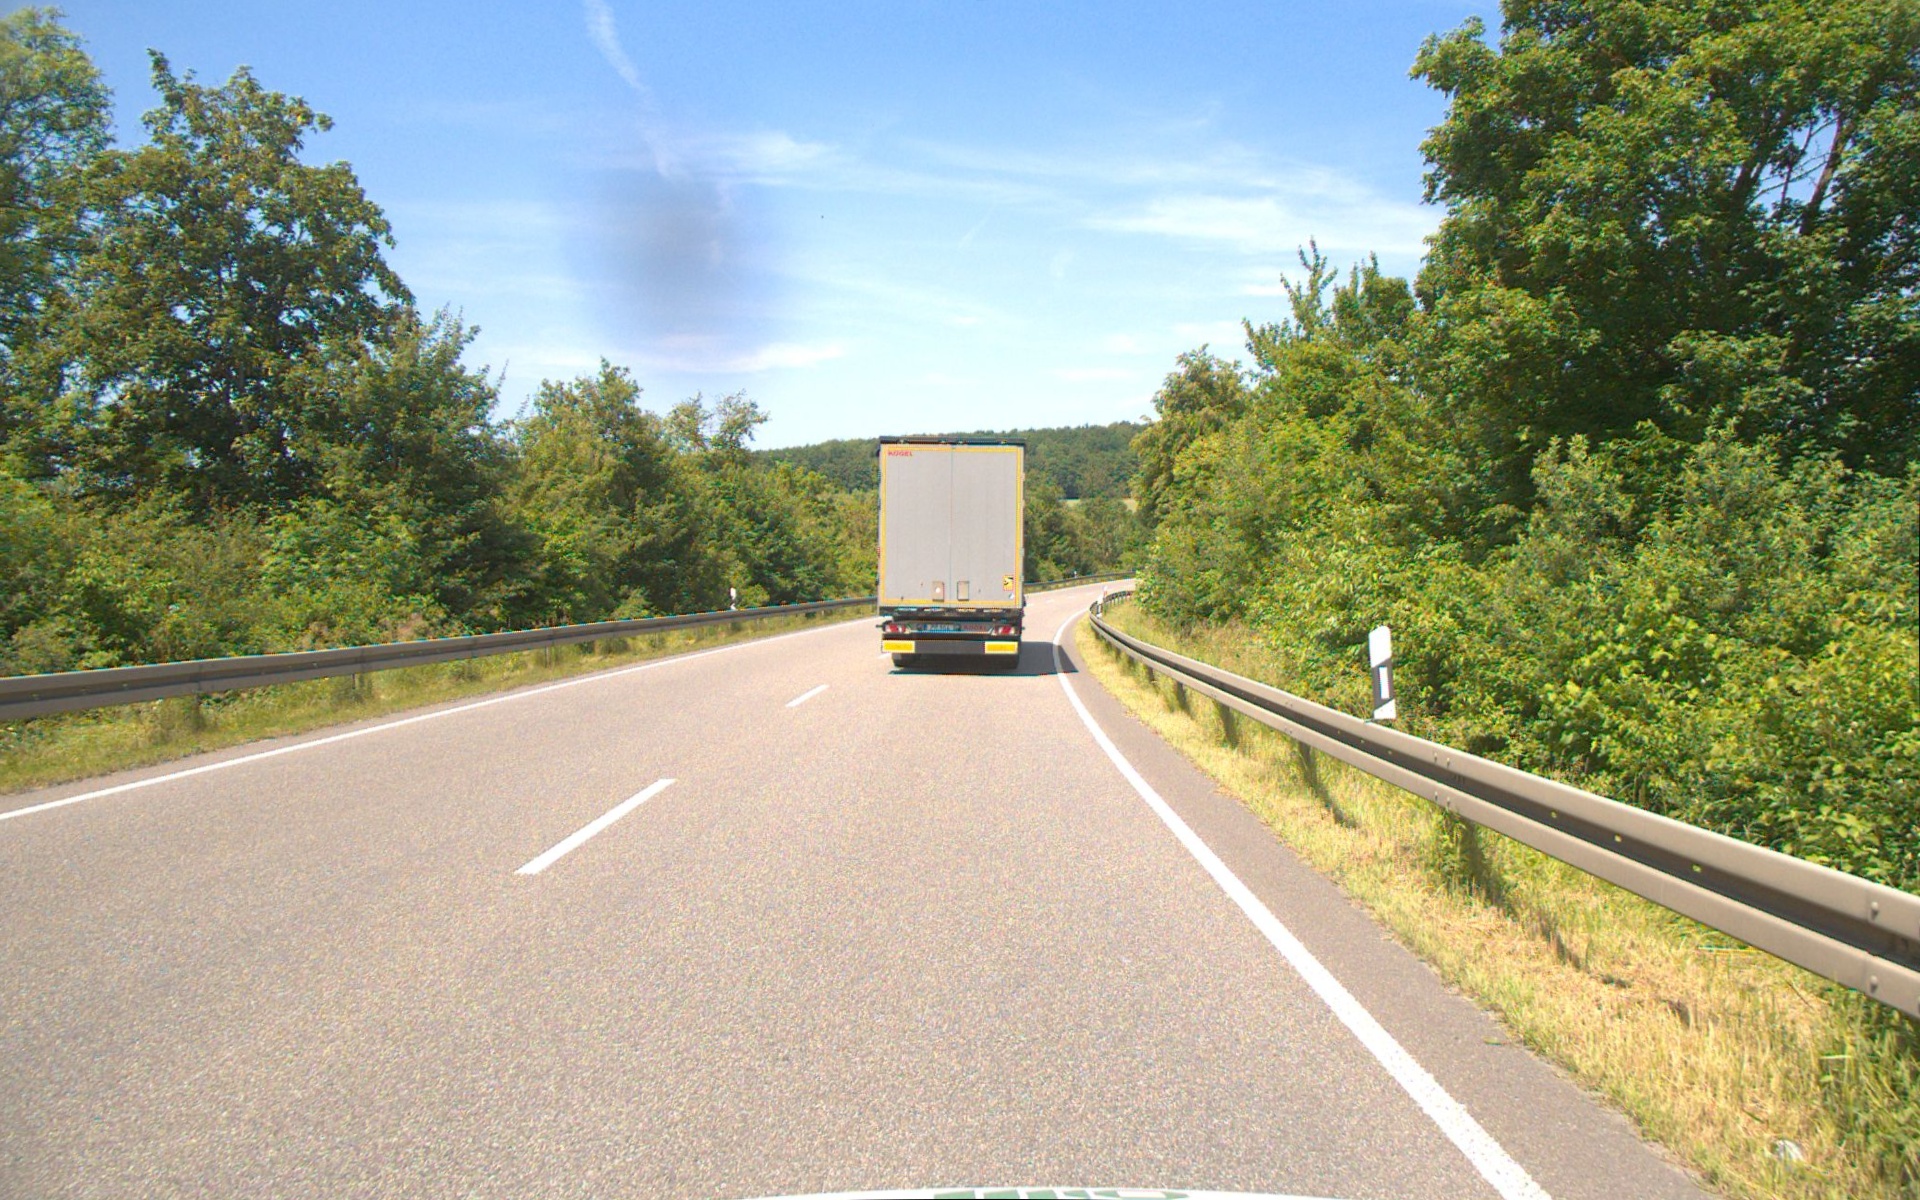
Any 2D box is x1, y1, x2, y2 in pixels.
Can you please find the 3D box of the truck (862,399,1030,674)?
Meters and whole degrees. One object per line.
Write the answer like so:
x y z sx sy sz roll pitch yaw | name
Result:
0.001 -1.114 33.773 2.759 4.611 11.772 1 0 2 | truck
